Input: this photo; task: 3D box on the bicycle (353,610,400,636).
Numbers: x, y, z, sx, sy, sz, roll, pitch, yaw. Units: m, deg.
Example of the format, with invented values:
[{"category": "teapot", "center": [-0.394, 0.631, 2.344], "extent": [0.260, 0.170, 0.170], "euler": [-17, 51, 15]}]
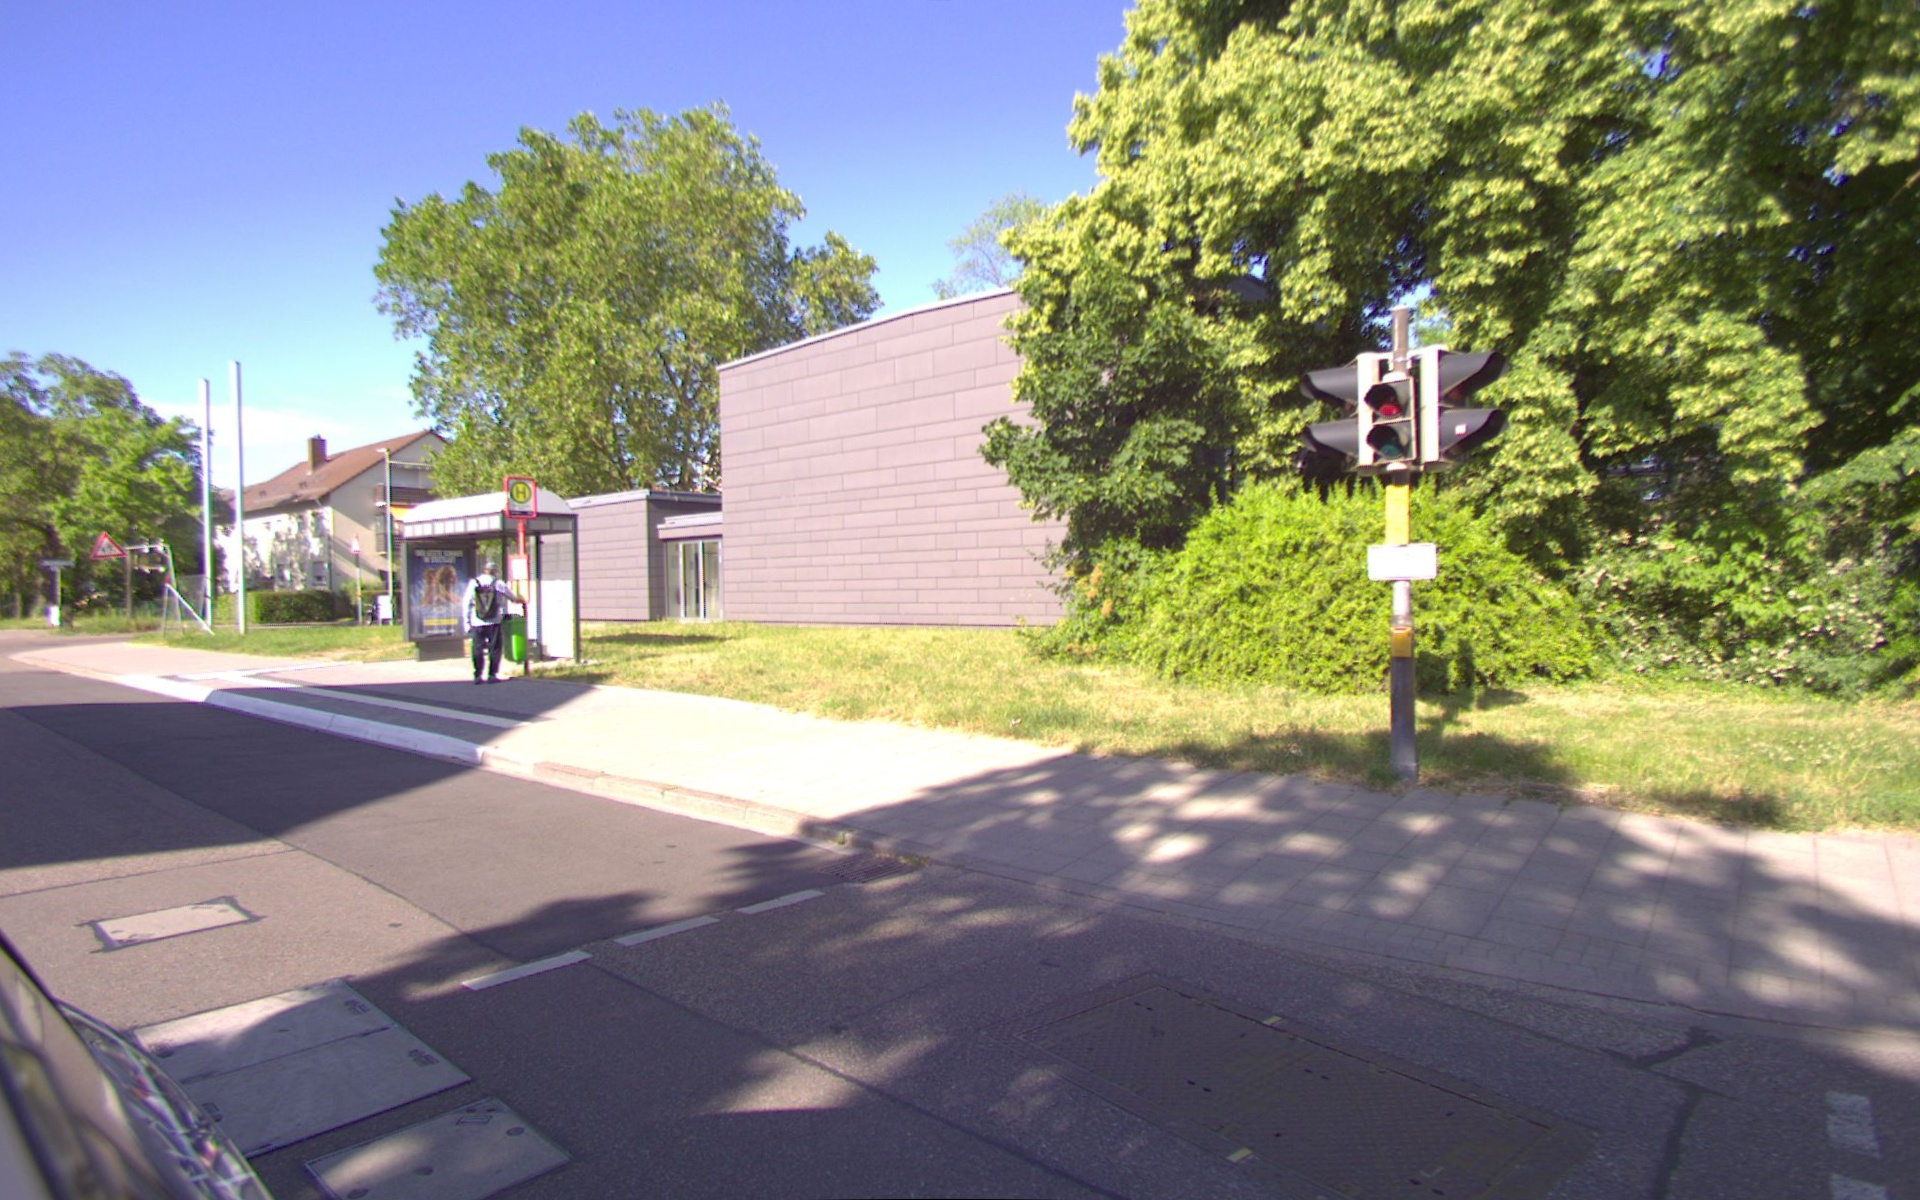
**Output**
[{"category": "bicycle", "center": [-23.502, 0.933, 40.794], "extent": [1.574, 0.992, 0.501], "euler": [-2, -1, -35]}]

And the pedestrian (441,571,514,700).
[{"category": "pedestrian", "center": [-7.087, 0.496, 14.911], "extent": [0.706, 1.816, 0.772], "euler": [-3, 1, -10]}]
